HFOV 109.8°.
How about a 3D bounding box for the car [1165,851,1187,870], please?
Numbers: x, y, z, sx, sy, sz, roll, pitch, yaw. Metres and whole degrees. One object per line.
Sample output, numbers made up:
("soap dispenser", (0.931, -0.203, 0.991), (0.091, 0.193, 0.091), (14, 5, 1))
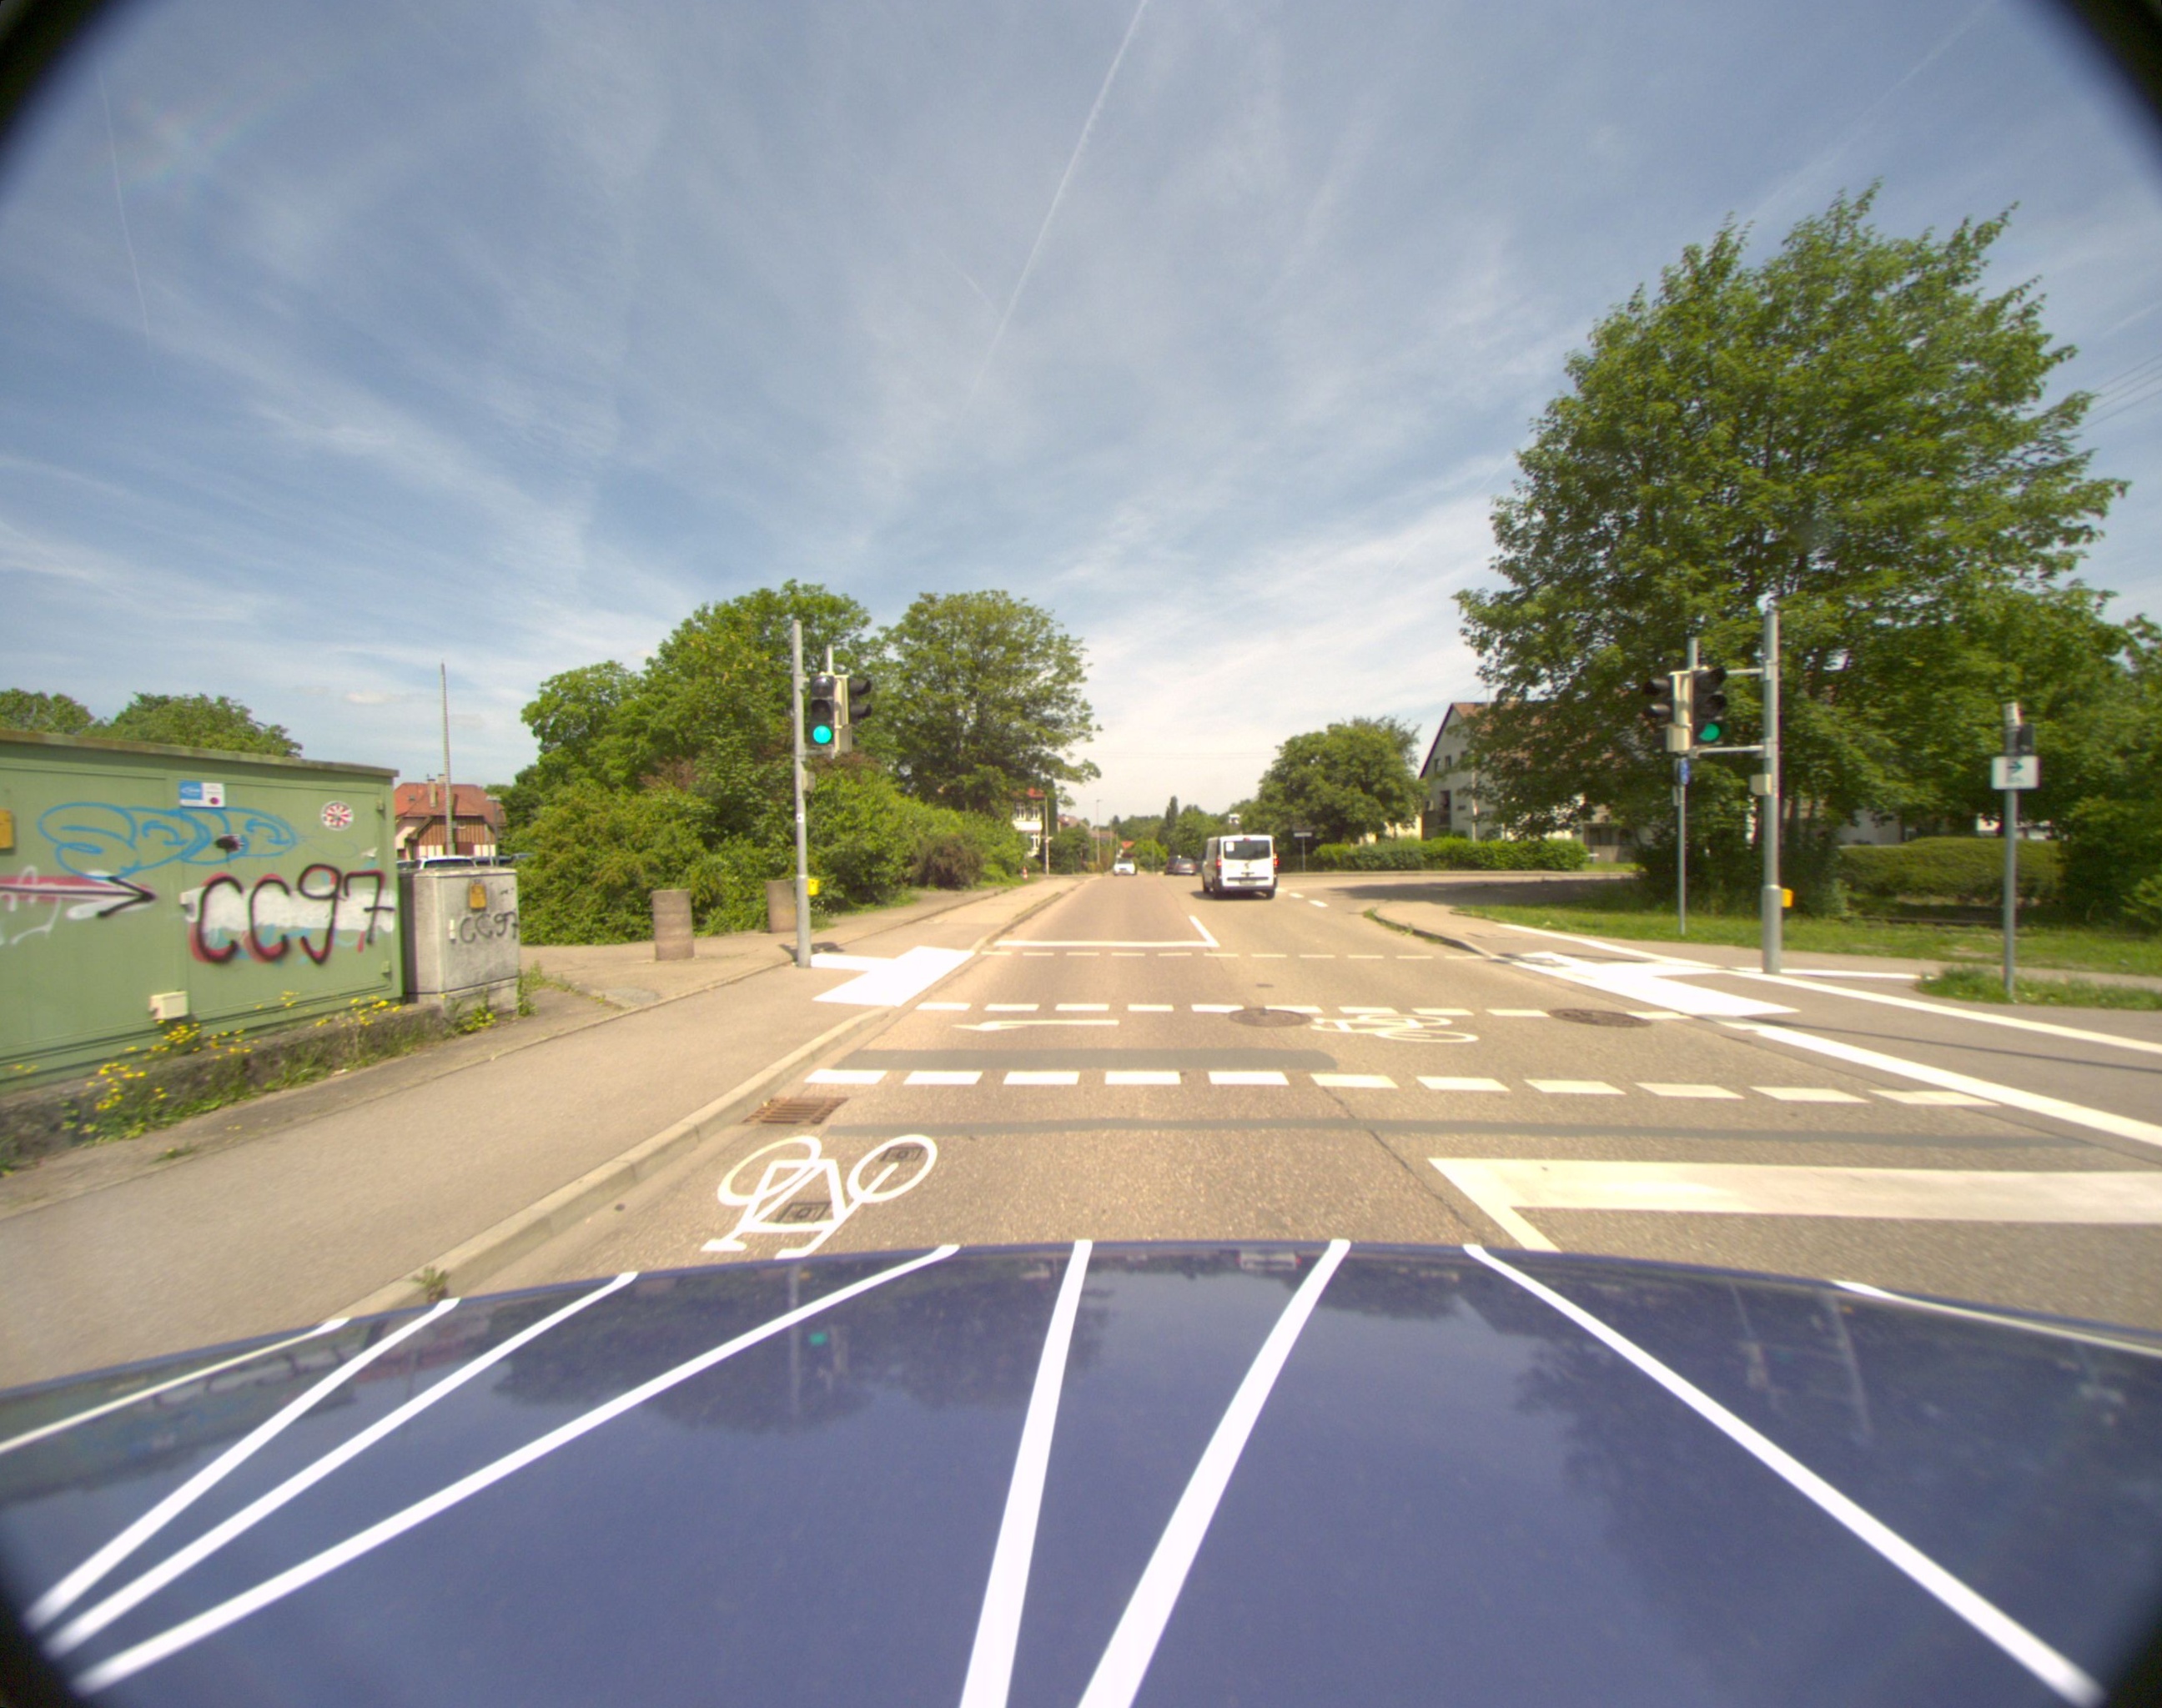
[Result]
("car", (10.038, 0.755, 80.590), (1.901, 1.908, 4.872), (1, -1, 2))

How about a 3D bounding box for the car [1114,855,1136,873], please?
("car", (3.865, 0.853, 67.192), (1.826, 1.543, 4.001), (0, 0, 2))

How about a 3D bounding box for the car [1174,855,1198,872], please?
("car", (8.749, 0.754, 63.545), (1.784, 1.386, 4.411), (0, 0, 5))

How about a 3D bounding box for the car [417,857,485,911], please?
("car", (-21.017, 0.948, 25.297), (1.610, 1.608, 3.726), (-2, 1, -41))

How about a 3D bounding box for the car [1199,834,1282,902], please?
("car", (5.123, 0.355, 24.999), (1.883, 1.954, 4.901), (-1, 2, 2))
